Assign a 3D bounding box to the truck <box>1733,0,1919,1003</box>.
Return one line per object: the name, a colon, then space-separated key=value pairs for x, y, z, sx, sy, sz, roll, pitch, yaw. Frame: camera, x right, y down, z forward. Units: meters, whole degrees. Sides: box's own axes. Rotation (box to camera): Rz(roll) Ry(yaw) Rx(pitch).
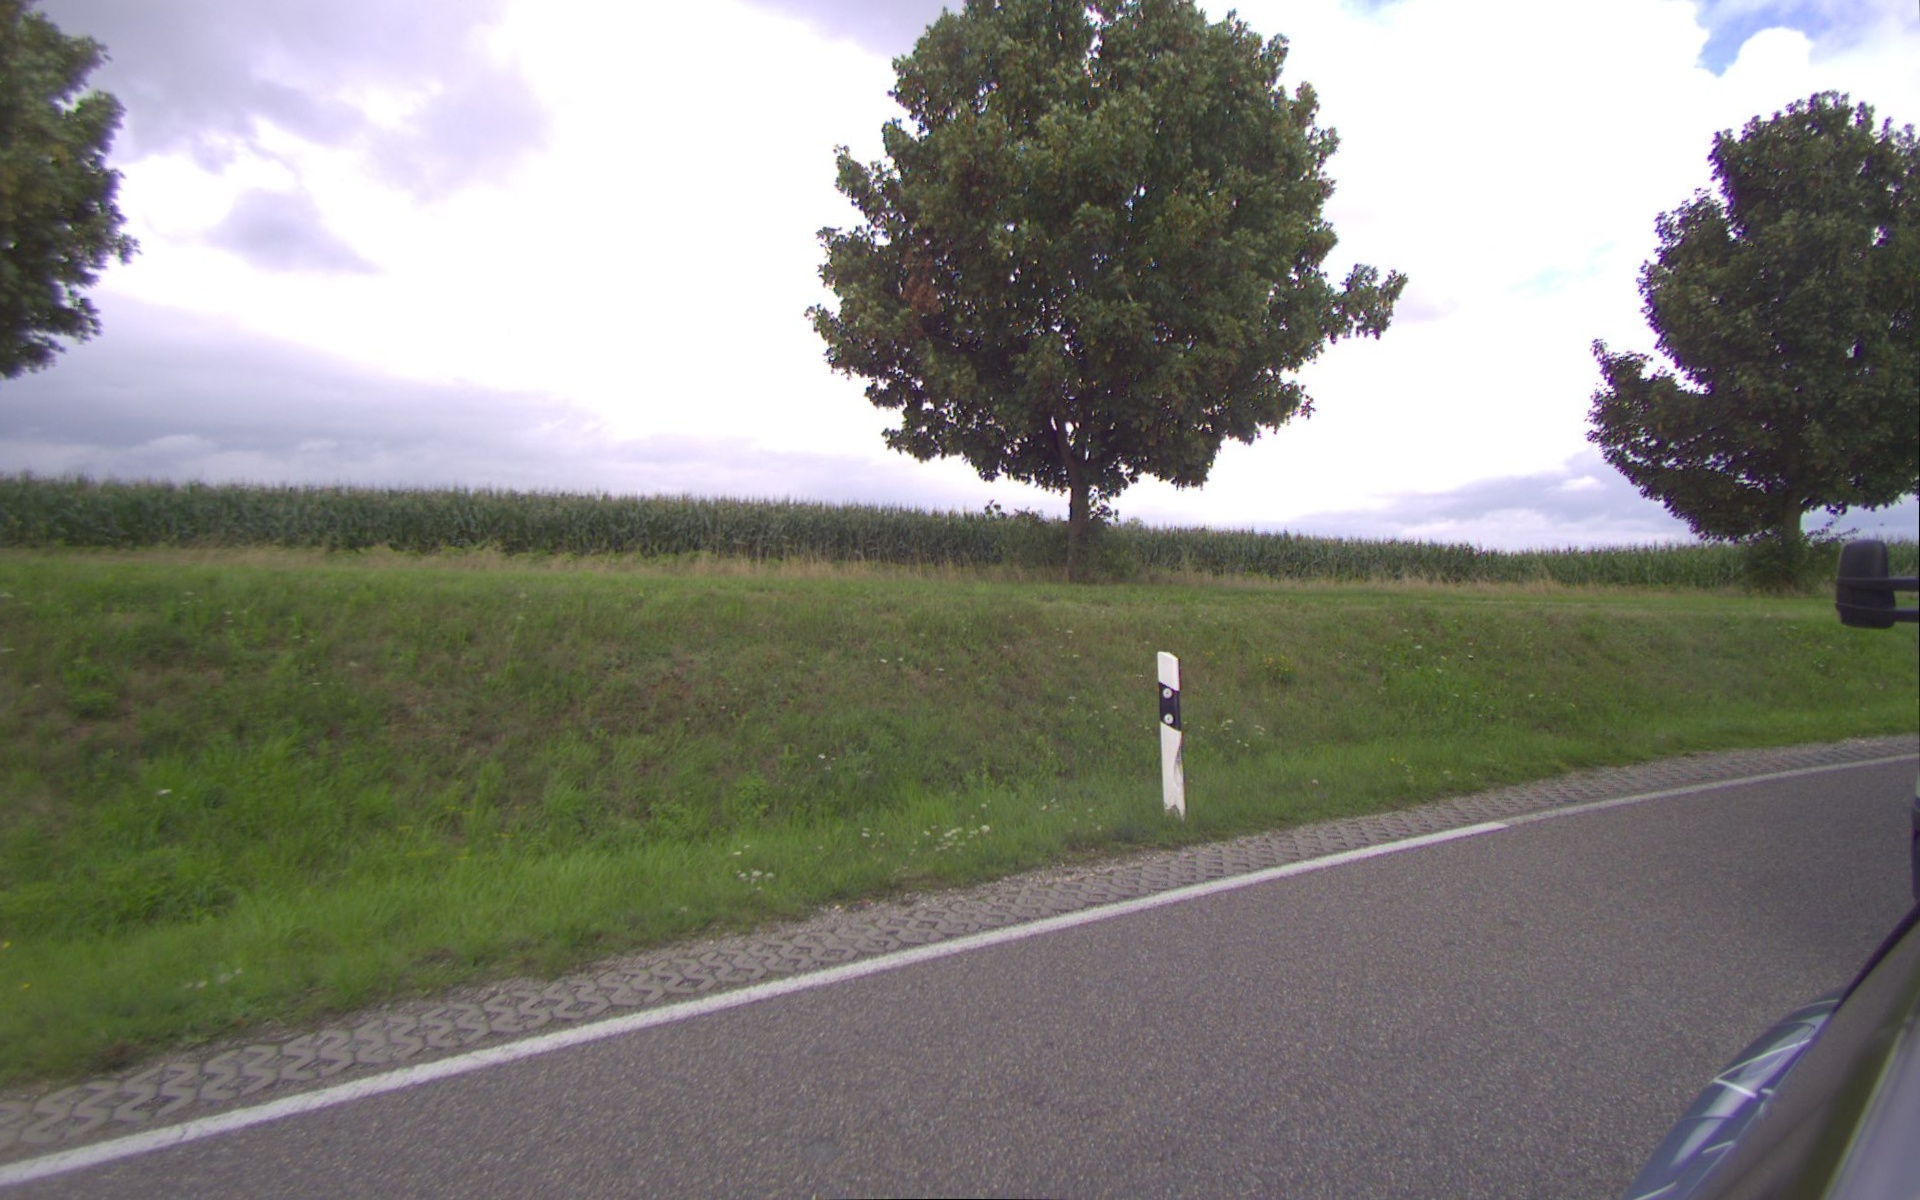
truck: x=7.319 y=-0.577 z=4.767 sx=8.625 sy=3.810 sz=2.842 roll=0 pitch=1 yaw=-31
